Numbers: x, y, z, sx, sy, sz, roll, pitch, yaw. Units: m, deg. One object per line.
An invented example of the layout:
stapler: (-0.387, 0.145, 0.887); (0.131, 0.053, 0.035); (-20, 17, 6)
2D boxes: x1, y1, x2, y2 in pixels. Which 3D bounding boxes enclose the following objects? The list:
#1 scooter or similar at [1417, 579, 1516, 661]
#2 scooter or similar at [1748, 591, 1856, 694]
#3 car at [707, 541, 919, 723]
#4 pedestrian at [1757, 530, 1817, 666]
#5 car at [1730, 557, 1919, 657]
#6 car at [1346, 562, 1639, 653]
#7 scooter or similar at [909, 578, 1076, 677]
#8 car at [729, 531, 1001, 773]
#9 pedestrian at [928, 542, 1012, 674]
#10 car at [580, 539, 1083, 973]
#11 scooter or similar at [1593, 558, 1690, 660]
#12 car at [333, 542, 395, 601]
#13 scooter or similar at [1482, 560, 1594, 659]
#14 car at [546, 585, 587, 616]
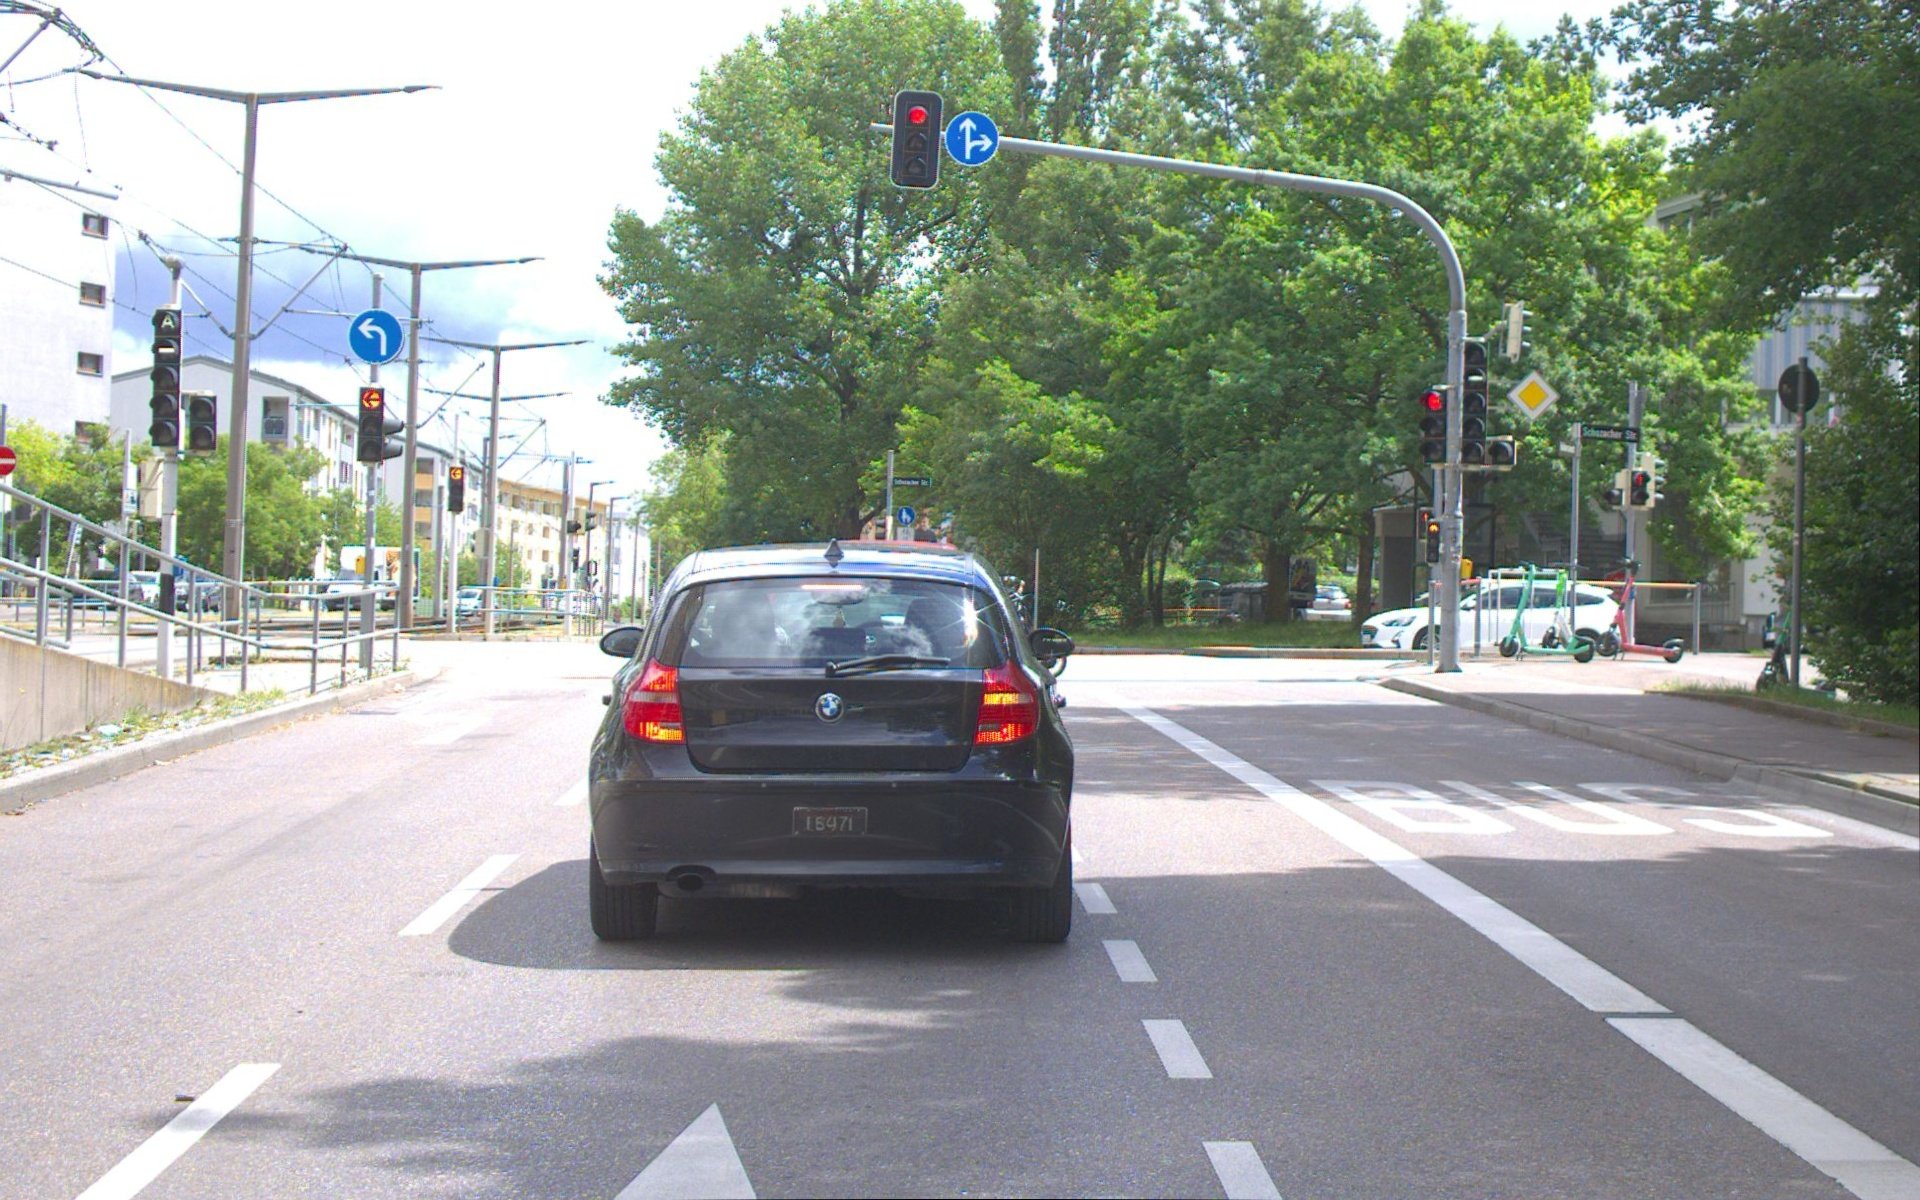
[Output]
scooter or similar: (5.930, 0.235, 40.248); (1.119, 0.954, 0.300); (0, 1, -16)
scooter or similar: (9.069, 0.453, 37.017); (1.148, 1.095, 0.332); (0, 1, -24)
car: (-1.235, 0.224, 28.921); (1.654, 1.414, 3.517); (1, 1, -2)
pedestrian: (11.106, -0.025, 46.182); (0.614, 1.784, 0.568); (5, 1, 18)
car: (14.736, 0.114, 56.712); (3.576, 1.595, 1.712); (0, 1, -12)
car: (9.131, 0.120, 59.109); (4.571, 1.521, 1.946); (0, 1, -11)
scooter or similar: (0.350, 0.300, 37.505); (1.780, 1.047, 0.410); (0, 1, -4)
car: (-0.569, 0.275, 22.116); (1.594, 1.414, 3.517); (1, 1, 0)
pedestrian: (0.113, 0.083, 37.940); (0.865, 1.437, 0.798); (0, 1, 4)
car: (-0.400, 0.486, 13.162); (1.654, 1.414, 3.517); (1, 1, 1)
scooter or similar: (8.383, 0.109, 42.295); (1.106, 1.253, 0.332); (0, 1, -12)
car: (-27.684, -1.348, 159.798); (2.139, 2.631, 5.359); (1, 1, -2)
scooter or similar: (6.965, 0.110, 41.427); (1.287, 1.185, 0.385); (0, 1, -16)
car: (-21.412, 0.037, 187.296); (1.966, 1.590, 4.001); (1, 1, -3)
